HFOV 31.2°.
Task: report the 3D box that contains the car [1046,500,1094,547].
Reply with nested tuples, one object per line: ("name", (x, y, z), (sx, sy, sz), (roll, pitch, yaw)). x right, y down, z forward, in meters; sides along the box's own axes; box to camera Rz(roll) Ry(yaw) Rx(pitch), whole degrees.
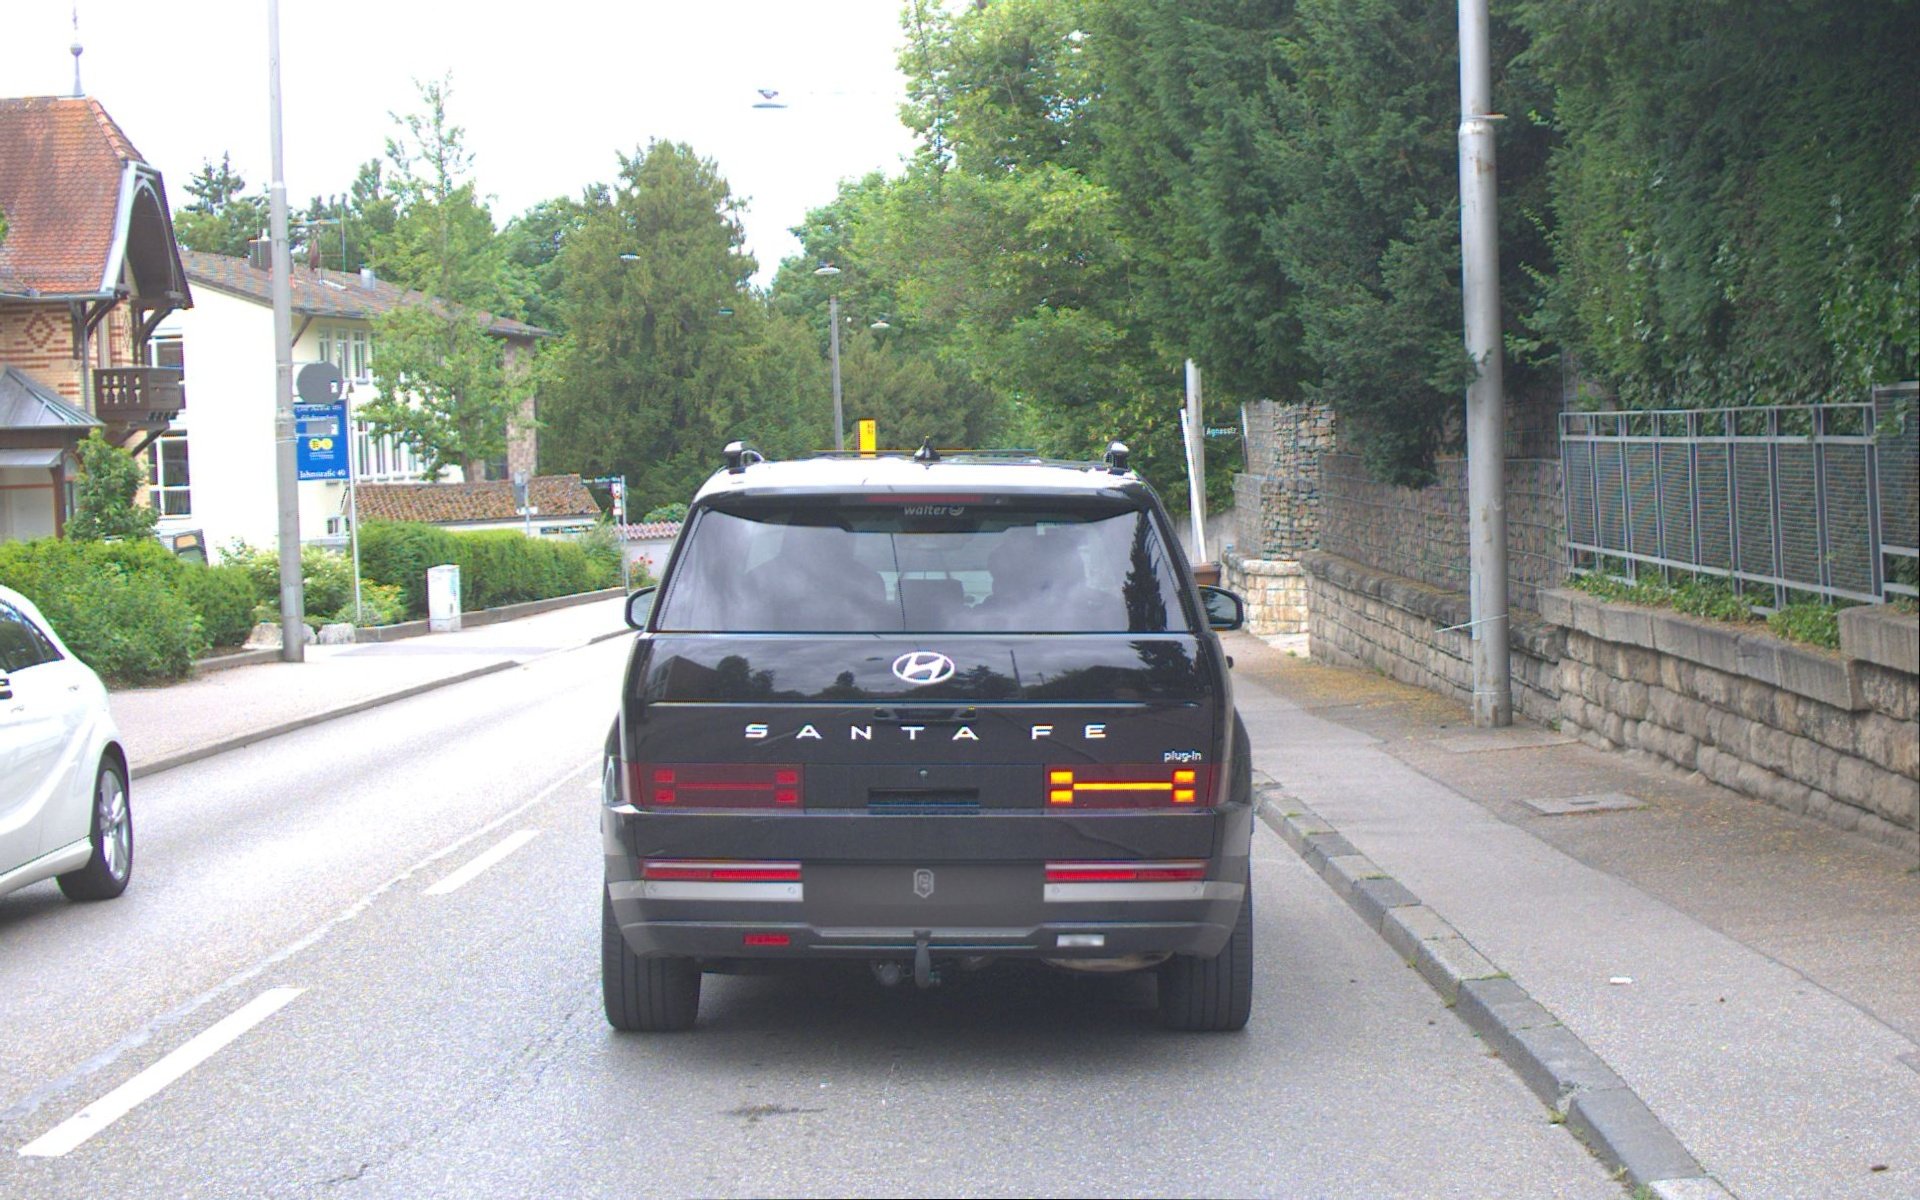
("car", (4.144, -2.845, 128.781), (1.645, 1.555, 3.649), (-2, -1, 4))

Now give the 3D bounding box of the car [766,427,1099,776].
("car", (-0.247, -0.091, 22.818), (1.957, 1.948, 4.225), (1, 4, -2))

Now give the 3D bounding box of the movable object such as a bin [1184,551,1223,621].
("movable object such as a bin", (3.256, -0.189, 45.964), (0.445, 0.906, 0.394), (-2, 1, 10))

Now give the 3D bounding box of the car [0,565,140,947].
("car", (-4.532, 0.650, 13.101), (1.766, 1.417, 4.066), (-4, 1, 0))

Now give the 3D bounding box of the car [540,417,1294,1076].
("car", (-0.097, 0.326, 11.138), (1.957, 1.707, 4.223), (1, 2, 1))
